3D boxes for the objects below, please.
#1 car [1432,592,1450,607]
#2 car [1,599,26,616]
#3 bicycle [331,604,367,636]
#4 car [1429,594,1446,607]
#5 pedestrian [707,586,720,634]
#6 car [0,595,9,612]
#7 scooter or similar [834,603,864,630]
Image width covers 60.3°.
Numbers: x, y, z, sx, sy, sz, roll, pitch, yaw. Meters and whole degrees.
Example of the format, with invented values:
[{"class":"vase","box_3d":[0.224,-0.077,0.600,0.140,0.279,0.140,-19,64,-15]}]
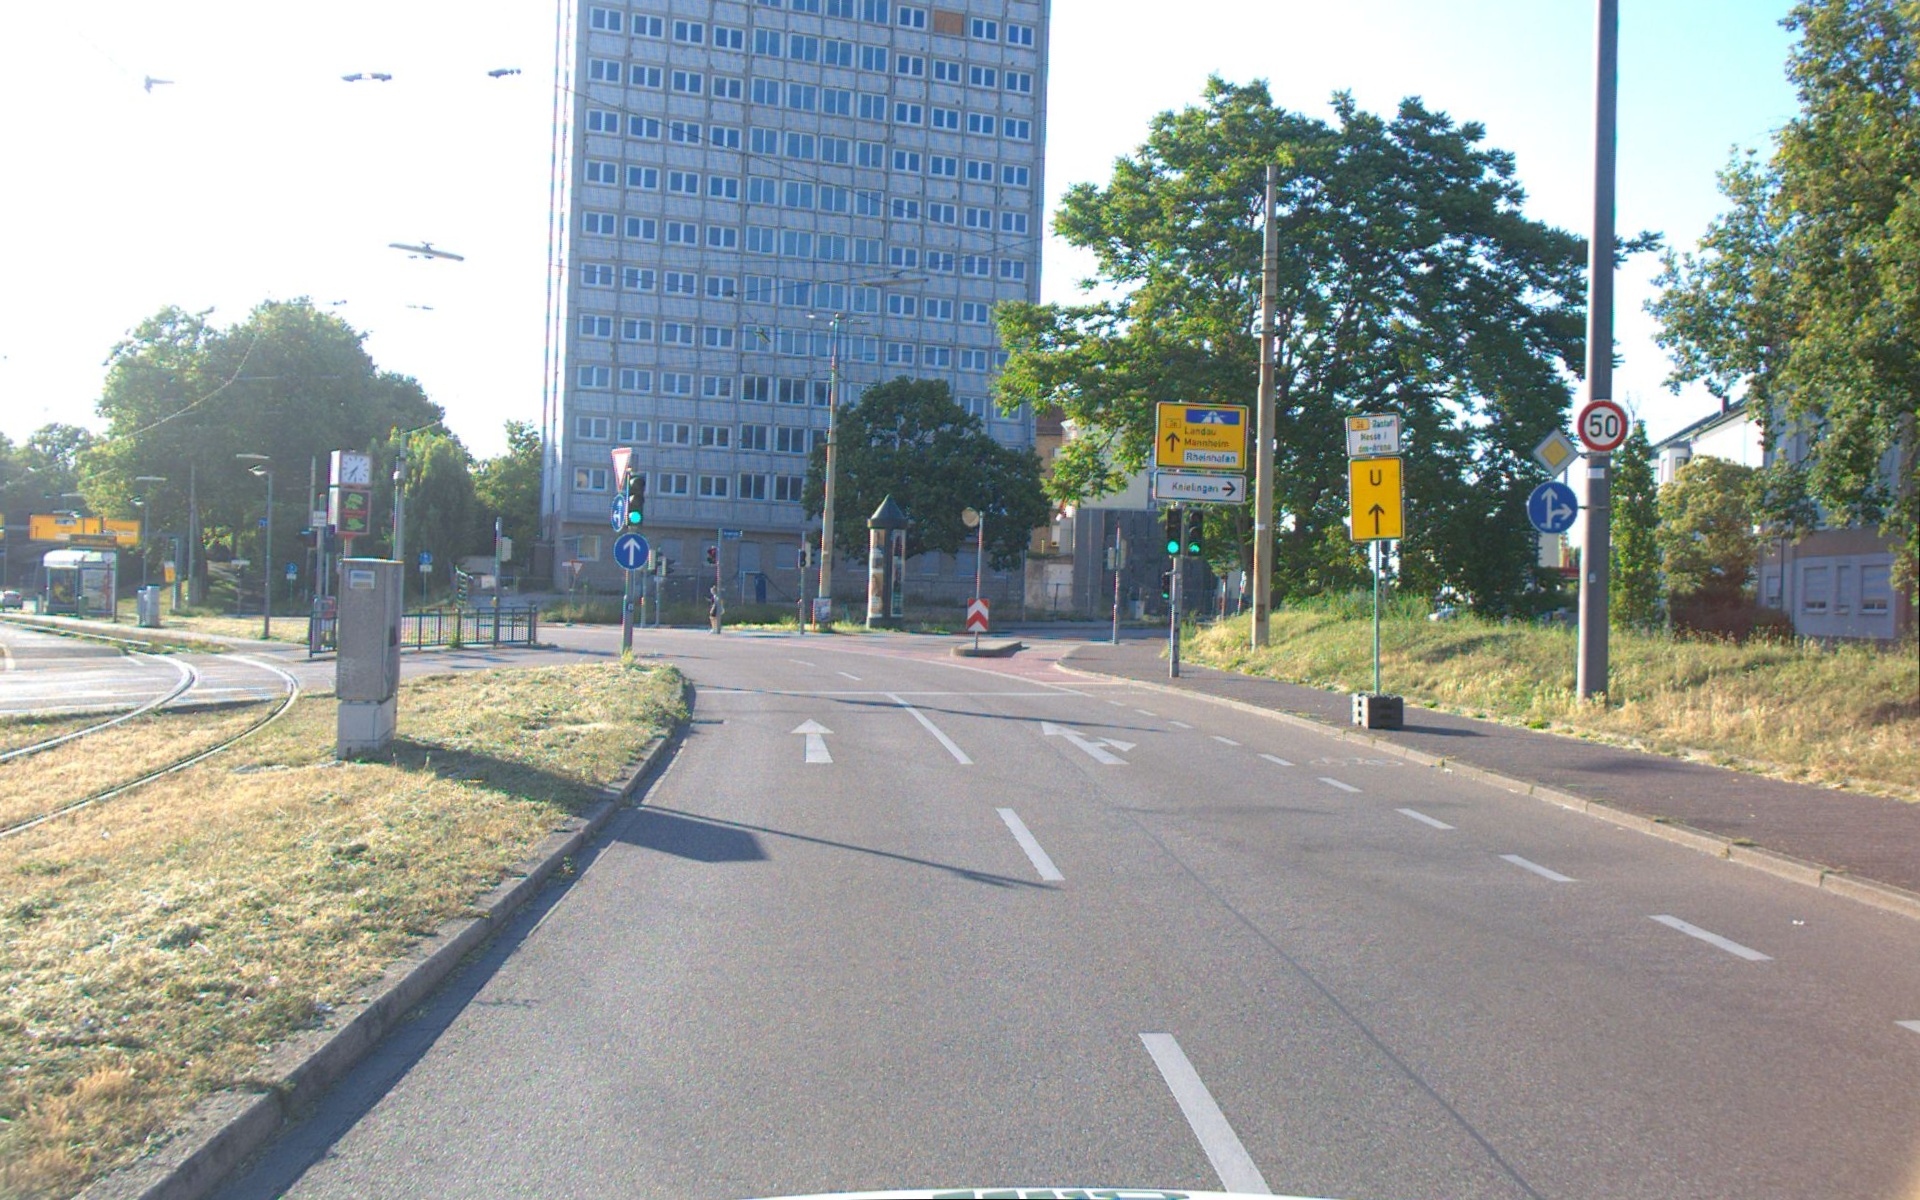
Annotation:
[{"class":"car","box_3d":[52.427,-0.031,180.346,1.820,1.570,3.881,1,0,17]},{"class":"car","box_3d":[-82.823,0.654,144.710,1.503,1.412,3.322,2,0,-35]},{"class":"bicycle","box_3d":[-18.338,0.587,49.646,0.542,0.934,1.741,0,0,-4]},{"class":"car","box_3d":[55.981,0.063,193.904,1.820,1.570,4.002,1,0,17]},{"class":"pedestrian","box_3d":[-8.470,0.348,56.838,0.428,1.640,0.629,1,0,-8]},{"class":"car","box_3d":[-89.796,0.283,153.726,2.023,1.471,3.948,0,1,-37]},{"class":"scooter or similar","box_3d":[-5.043,0.744,75.098,1.276,1.190,0.325,1,0,-17]}]
